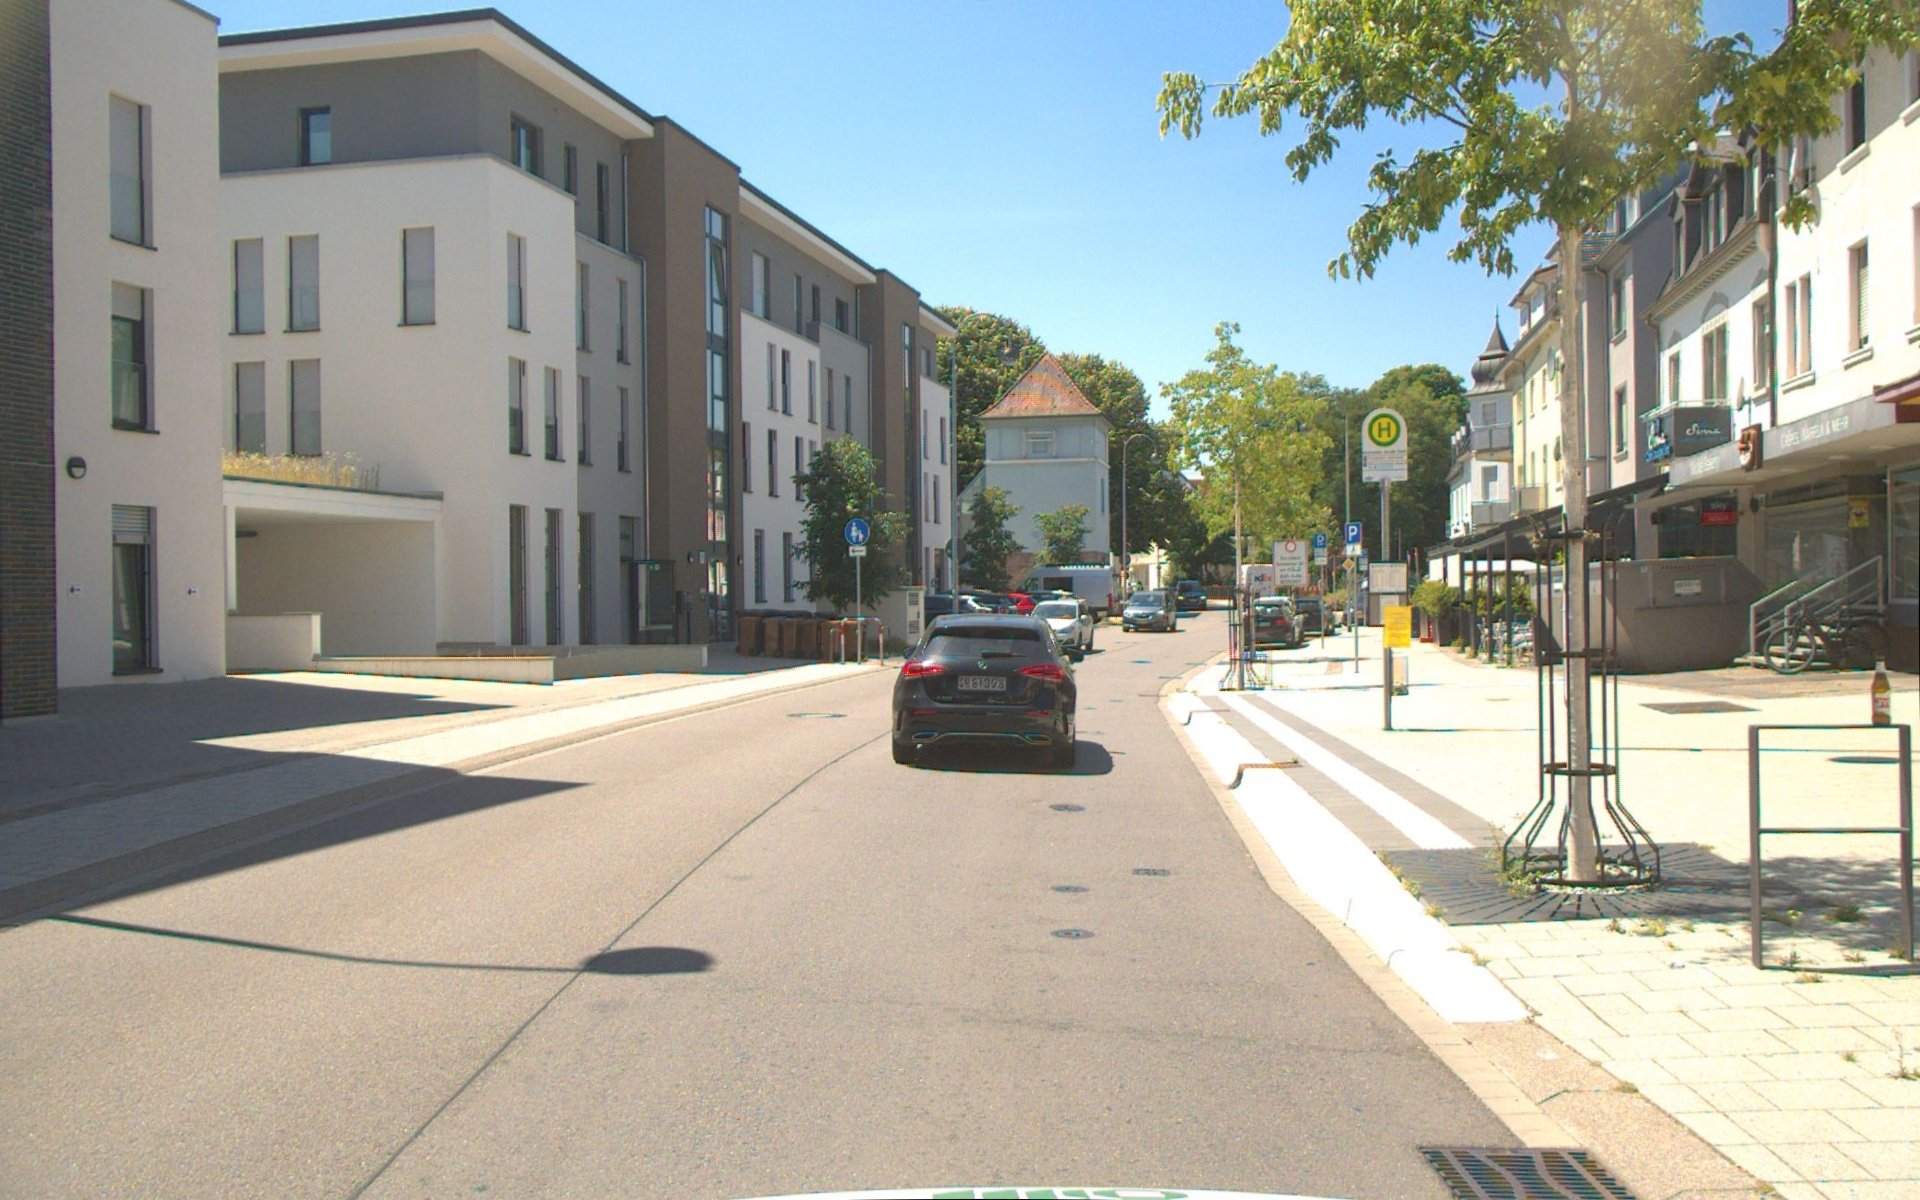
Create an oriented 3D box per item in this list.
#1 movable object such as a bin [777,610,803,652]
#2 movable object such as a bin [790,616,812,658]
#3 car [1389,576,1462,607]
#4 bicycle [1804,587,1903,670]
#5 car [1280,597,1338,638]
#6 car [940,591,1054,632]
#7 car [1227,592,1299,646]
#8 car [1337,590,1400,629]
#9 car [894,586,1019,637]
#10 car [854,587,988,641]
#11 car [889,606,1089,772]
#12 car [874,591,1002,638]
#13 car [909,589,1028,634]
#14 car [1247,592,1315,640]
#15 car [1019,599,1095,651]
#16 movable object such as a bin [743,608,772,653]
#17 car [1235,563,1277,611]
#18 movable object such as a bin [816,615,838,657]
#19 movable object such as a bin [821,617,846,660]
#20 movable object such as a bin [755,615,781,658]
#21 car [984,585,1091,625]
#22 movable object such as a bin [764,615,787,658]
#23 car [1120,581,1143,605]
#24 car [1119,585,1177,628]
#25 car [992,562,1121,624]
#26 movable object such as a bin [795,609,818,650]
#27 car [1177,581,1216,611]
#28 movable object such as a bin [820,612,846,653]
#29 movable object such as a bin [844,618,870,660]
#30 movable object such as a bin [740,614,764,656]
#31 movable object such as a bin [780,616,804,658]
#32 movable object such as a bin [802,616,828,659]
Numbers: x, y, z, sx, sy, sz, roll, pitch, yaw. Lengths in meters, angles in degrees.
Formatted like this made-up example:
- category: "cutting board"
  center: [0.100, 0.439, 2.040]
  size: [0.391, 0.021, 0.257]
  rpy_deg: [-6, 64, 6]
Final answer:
- category: "movable object such as a bin"
  center: [-4.406, 0.805, 42.919]
  size: [0.662, 1.057, 0.604]
  rpy_deg: [0, 0, -4]
- category: "movable object such as a bin"
  center: [-3.889, 0.905, 40.470]
  size: [0.394, 1.015, 0.556]
  rpy_deg: [0, 0, 12]
- category: "car"
  center: [27.382, -0.511, 97.341]
  size: [3.988, 1.746, 1.858]
  rpy_deg: [1, 0, 12]
- category: "bicycle"
  center: [13.399, 0.417, 24.831]
  size: [1.244, 1.204, 0.415]
  rpy_deg: [1, -1, 21]
- category: "car"
  center: [13.192, 0.637, 62.325]
  size: [1.688, 1.430, 4.611]
  rpy_deg: [-2, 0, 17]
- category: "car"
  center: [1.422, 0.414, 63.021]
  size: [3.947, 1.455, 2.001]
  rpy_deg: [1, 0, 16]
- category: "car"
  center: [9.212, 0.572, 50.099]
  size: [1.793, 1.508, 4.098]
  rpy_deg: [-3, -1, 14]
- category: "car"
  center: [17.942, 0.403, 72.540]
  size: [1.835, 1.517, 3.858]
  rpy_deg: [-2, 1, 27]
- category: "car"
  center: [-0.113, 0.371, 57.654]
  size: [3.947, 1.680, 2.001]
  rpy_deg: [1, 0, 16]
- category: "car"
  center: [-1.239, 0.421, 52.971]
  size: [3.902, 1.541, 2.002]
  rpy_deg: [1, 2, 13]
- category: "car"
  center: [0.343, 0.816, 17.026]
  size: [1.790, 1.467, 4.001]
  rpy_deg: [1, 0, 2]
- category: "car"
  center: [-0.707, 0.462, 55.200]
  size: [3.902, 1.446, 1.911]
  rpy_deg: [1, 0, 14]
- category: "car"
  center: [0.329, 0.407, 60.441]
  size: [3.947, 1.523, 2.001]
  rpy_deg: [1, 0, 16]
- category: "car"
  center: [10.936, 0.521, 56.125]
  size: [1.701, 1.512, 4.056]
  rpy_deg: [-3, -1, 18]
- category: "car"
  center: [2.814, 0.681, 47.372]
  size: [1.631, 1.420, 3.851]
  rpy_deg: [0, 0, 12]
- category: "movable object such as a bin"
  center: [-5.154, 0.779, 42.102]
  size: [0.678, 1.115, 0.647]
  rpy_deg: [0, 0, -4]
- category: "car"
  center: [17.191, -0.766, 96.182]
  size: [2.082, 2.675, 5.282]
  rpy_deg: [-1, 0, 7]
- category: "movable object such as a bin"
  center: [-3.234, 0.877, 40.331]
  size: [0.394, 1.015, 0.556]
  rpy_deg: [0, 0, 12]
- category: "movable object such as a bin"
  center: [-3.033, 0.911, 39.673]
  size: [0.473, 1.015, 0.588]
  rpy_deg: [0, 0, 6]
- category: "movable object such as a bin"
  center: [-4.614, 0.879, 39.799]
  size: [0.472, 1.015, 0.527]
  rpy_deg: [0, 0, 10]
- category: "car"
  center: [3.418, 0.205, 72.518]
  size: [4.359, 1.619, 2.002]
  rpy_deg: [1, 0, 13]
- category: "movable object such as a bin"
  center: [-4.495, 0.888, 40.366]
  size: [0.394, 1.015, 0.556]
  rpy_deg: [0, 0, 12]
- category: "car"
  center: [15.201, -0.596, 146.642]
  size: [1.951, 2.049, 4.002]
  rpy_deg: [1, 0, 5]
- category: "car"
  center: [7.693, 0.258, 67.551]
  size: [1.901, 1.687, 4.239]
  rpy_deg: [1, 0, 13]
- category: "car"
  center: [4.514, -0.332, 77.072]
  size: [5.645, 2.780, 2.293]
  rpy_deg: [1, 0, 14]
- category: "movable object such as a bin"
  center: [-4.043, 0.773, 43.562]
  size: [0.564, 1.057, 0.550]
  rpy_deg: [0, 0, -4]
- category: "car"
  center: [14.169, -0.230, 99.024]
  size: [1.772, 1.731, 4.078]
  rpy_deg: [0, 0, 16]
- category: "movable object such as a bin"
  center: [-3.282, 0.844, 42.772]
  size: [0.542, 1.038, 0.561]
  rpy_deg: [0, 0, 9]
- category: "movable object such as a bin"
  center: [-2.504, 0.952, 40.298]
  size: [0.472, 1.015, 0.588]
  rpy_deg: [0, 0, 12]
- category: "movable object such as a bin"
  center: [-5.099, 0.852, 40.550]
  size: [0.473, 1.015, 0.588]
  rpy_deg: [0, 0, 6]
- category: "movable object such as a bin"
  center: [-4.059, 0.891, 39.931]
  size: [0.415, 1.015, 0.524]
  rpy_deg: [0, 0, 13]
- category: "movable object such as a bin"
  center: [-3.508, 0.901, 39.960]
  size: [0.472, 1.015, 0.588]
  rpy_deg: [0, 0, 12]
